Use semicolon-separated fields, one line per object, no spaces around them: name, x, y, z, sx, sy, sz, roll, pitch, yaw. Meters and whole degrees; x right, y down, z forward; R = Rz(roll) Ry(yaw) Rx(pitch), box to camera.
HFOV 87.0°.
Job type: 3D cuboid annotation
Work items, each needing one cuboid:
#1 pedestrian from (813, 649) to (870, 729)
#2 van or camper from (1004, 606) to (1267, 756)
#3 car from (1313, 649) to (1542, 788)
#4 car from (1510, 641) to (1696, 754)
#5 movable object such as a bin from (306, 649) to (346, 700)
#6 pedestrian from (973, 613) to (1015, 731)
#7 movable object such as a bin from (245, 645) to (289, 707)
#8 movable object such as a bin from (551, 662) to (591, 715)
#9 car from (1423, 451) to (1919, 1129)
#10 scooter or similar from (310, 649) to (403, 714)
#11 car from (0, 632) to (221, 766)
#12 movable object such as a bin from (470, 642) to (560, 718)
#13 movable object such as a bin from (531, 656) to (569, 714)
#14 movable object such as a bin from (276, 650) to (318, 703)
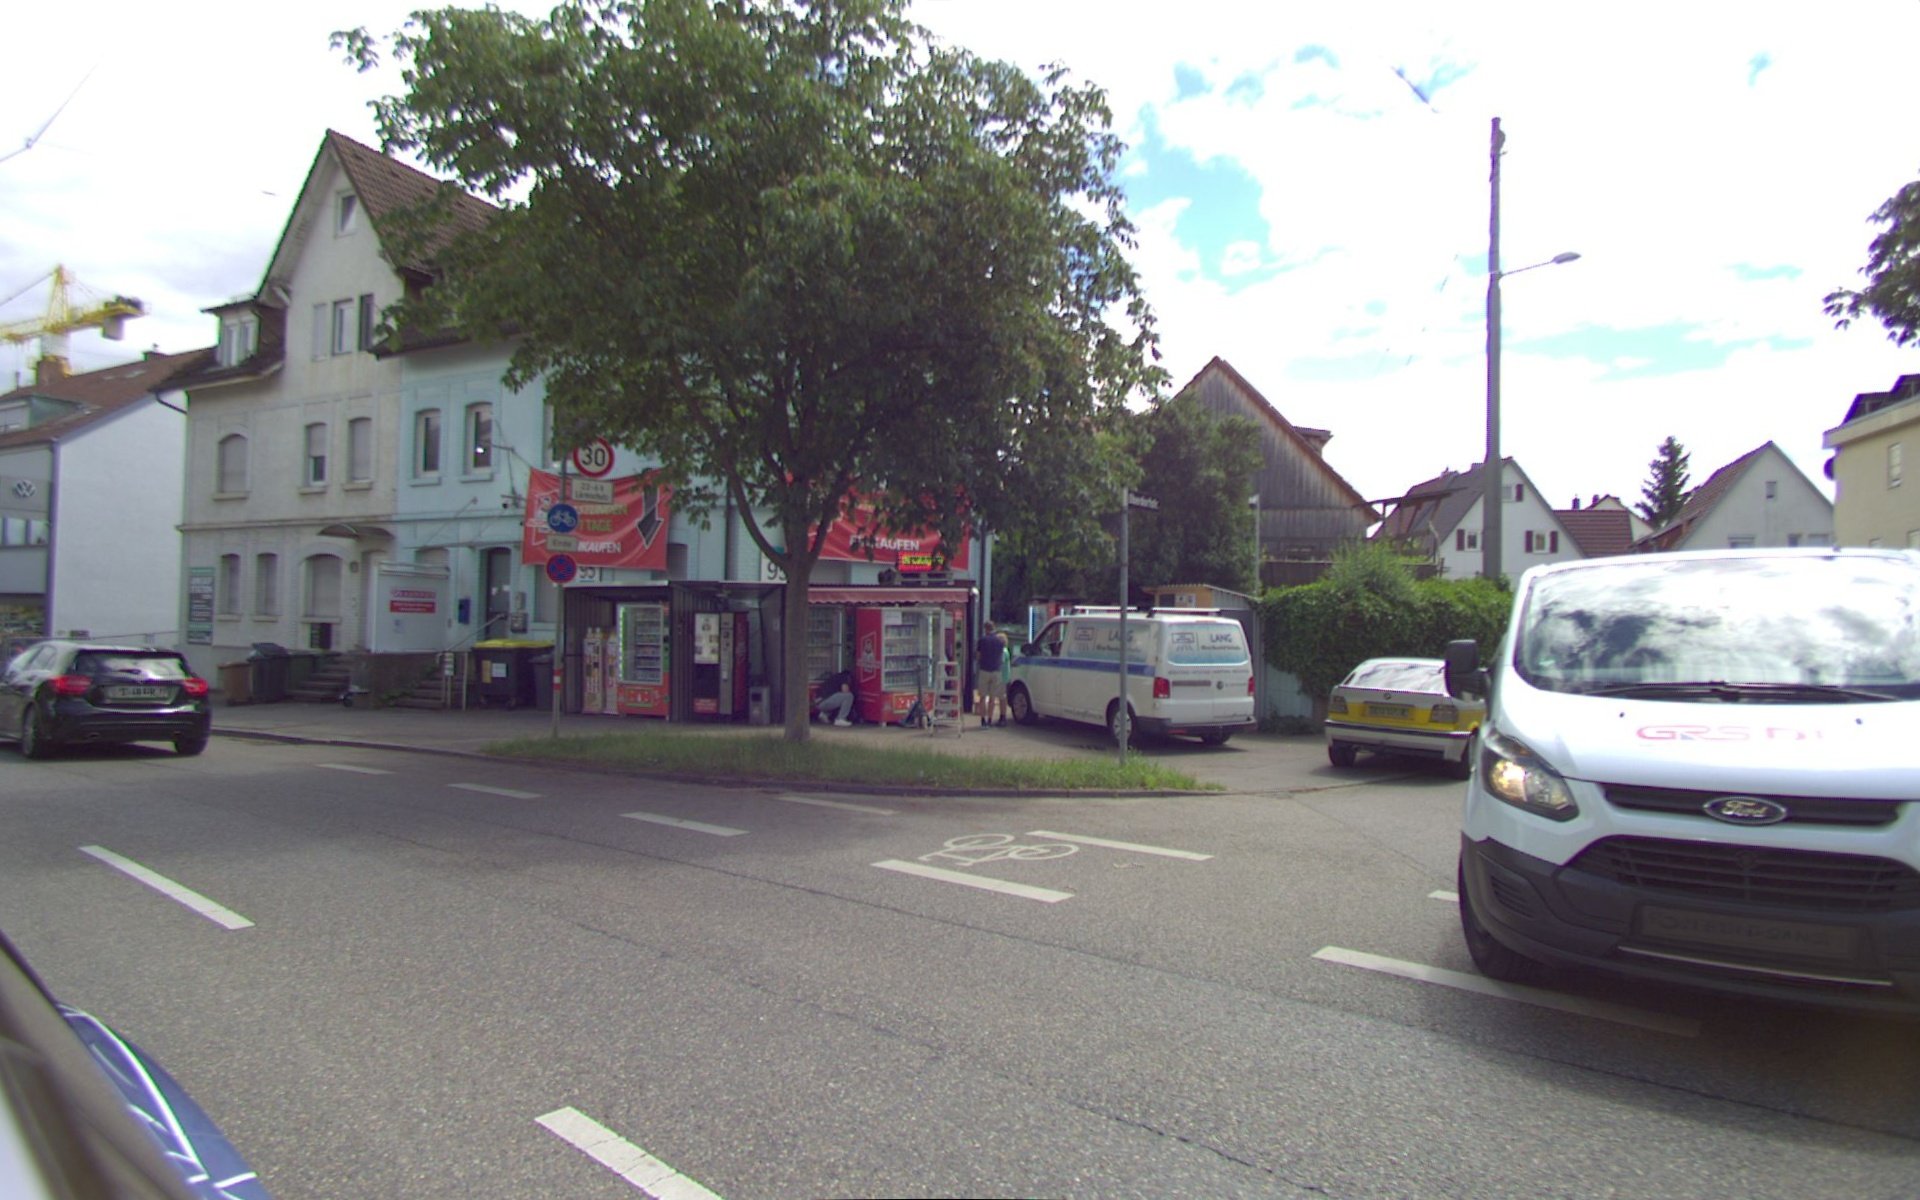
pedestrian;-1.974;1.472;16.937;0.734;1.281;0.620;0;-1;22
van or camper;2.570;1.140;15.949;1.760;2.009;4.393;2;-2;-27
car;6.249;1.407;13.281;1.814;1.424;3.976;0;-1;39
car;10.714;1.496;16.758;1.817;1.560;3.943;1;-1;44
movable object such as a bin;-14.393;1.685;22.986;0.559;1.109;0.562;0;0;23
pedestrian;0.563;1.174;16.807;0.560;1.910;0.622;0;-1;16
movable object such as a bin;-14.895;1.615;21.756;0.559;1.282;0.562;-1;-1;23
movable object such as a bin;-7.231;1.642;18.810;0.515;0.939;0.444;0;-1;26
car;4.104;0.740;5.307;2.104;2.009;5.166;-2;-5;35
scooter or similar;-12.100;1.611;20.327;0.543;1.193;1.544;0;-1;27
car;-11.612;1.226;13.334;4.216;1.493;1.672;-1;-6;35
movable object such as a bin;-8.611;1.519;19.604;1.240;1.365;1.014;0;-1;26
movable object such as a bin;-7.721;1.593;19.053;0.515;1.048;0.430;0;-1;26
movable object such as a bin;-14.695;1.686;22.436;0.559;1.109;0.562;0;0;23
